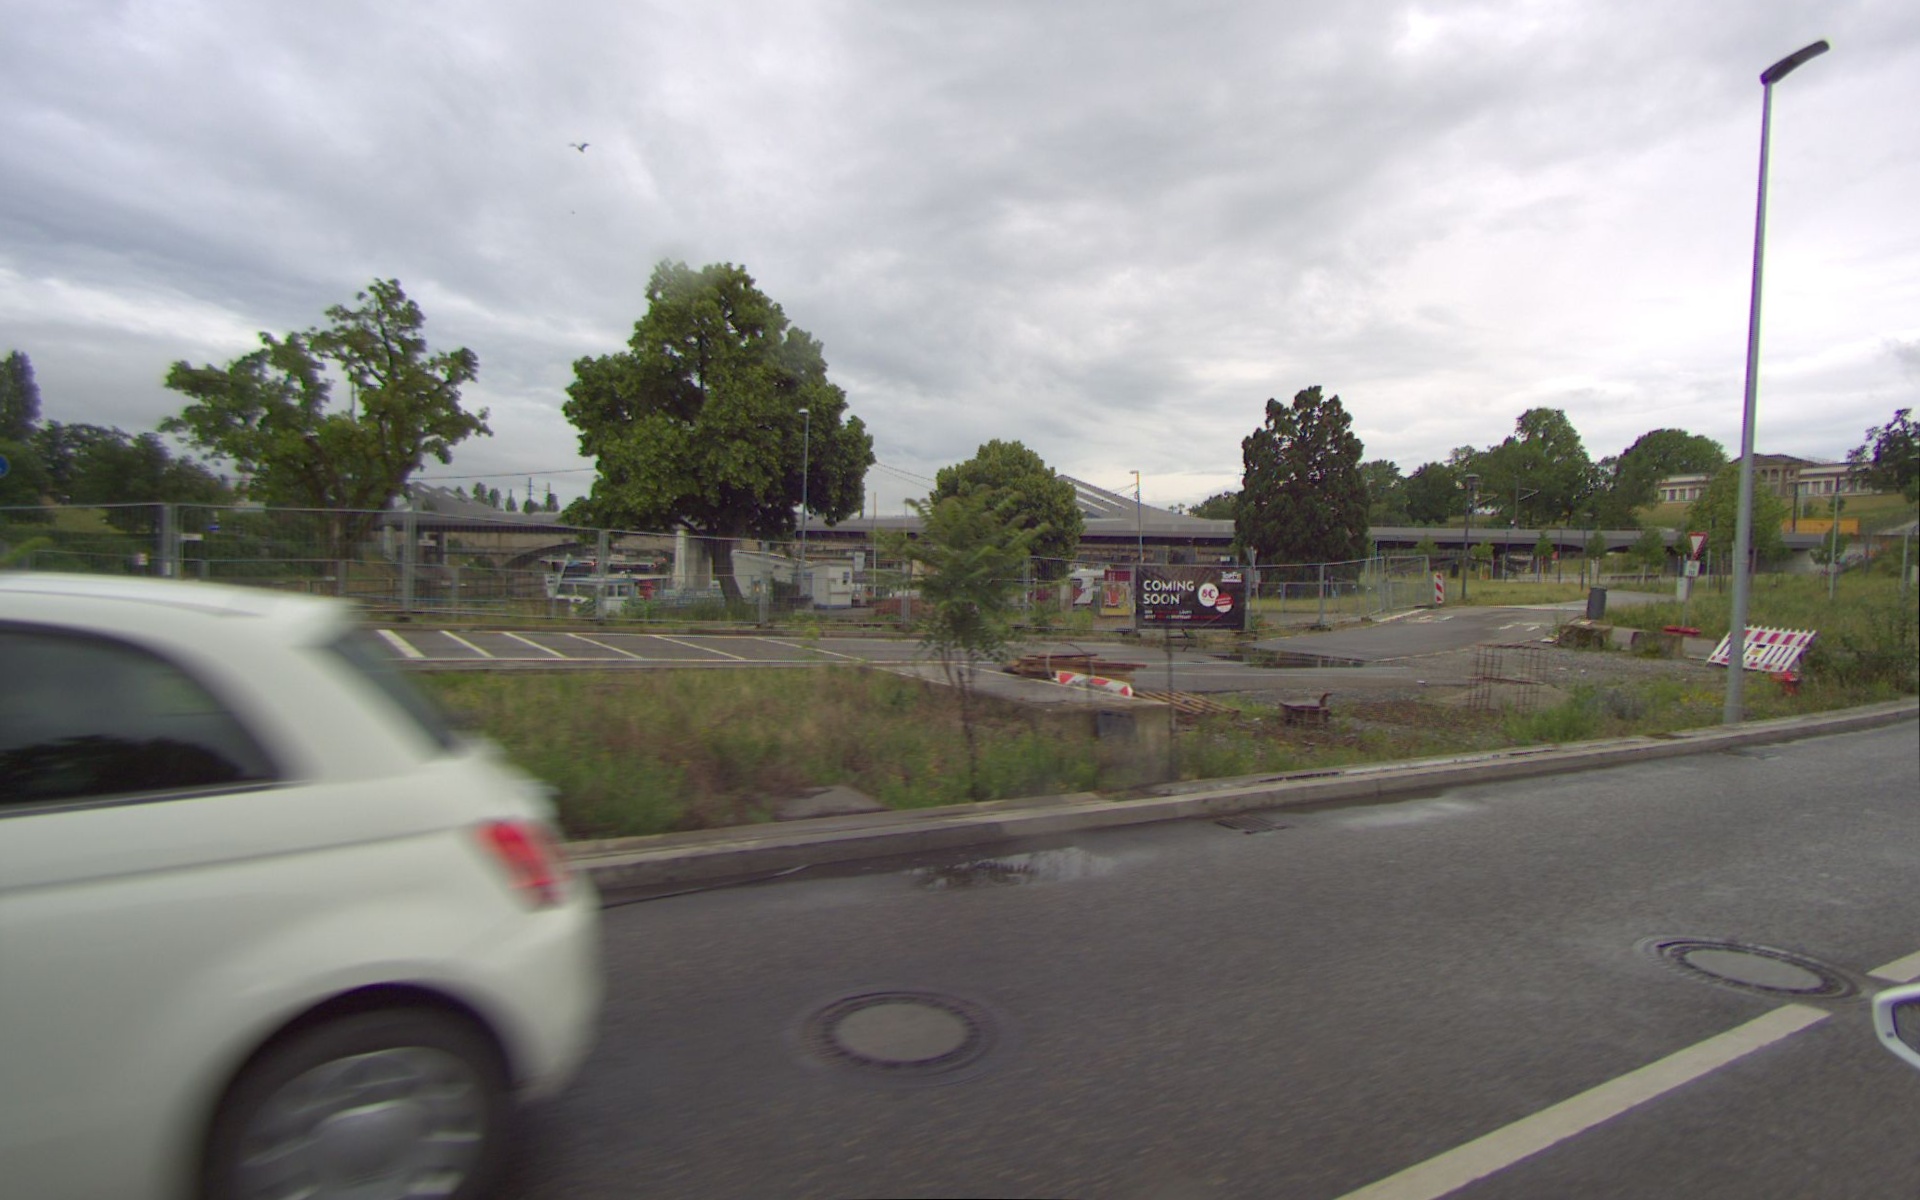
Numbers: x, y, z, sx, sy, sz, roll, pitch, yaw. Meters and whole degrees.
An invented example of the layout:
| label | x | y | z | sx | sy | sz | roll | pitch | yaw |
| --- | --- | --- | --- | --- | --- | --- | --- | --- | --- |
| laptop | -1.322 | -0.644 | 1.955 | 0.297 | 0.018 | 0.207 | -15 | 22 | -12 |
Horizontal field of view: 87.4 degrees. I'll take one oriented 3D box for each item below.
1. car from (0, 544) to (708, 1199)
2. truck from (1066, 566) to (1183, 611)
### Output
| label | x | y | z | sx | sy | sz | roll | pitch | yaw |
| --- | --- | --- | --- | --- | --- | --- | --- | --- | --- |
| car | -2.599 | 0.634 | 2.208 | 3.671 | 1.511 | 1.579 | 1 | 0 | -30 |
| truck | 11.588 | -0.841 | 70.909 | 7.808 | 2.840 | 2.422 | 2 | 2 | 23 |
